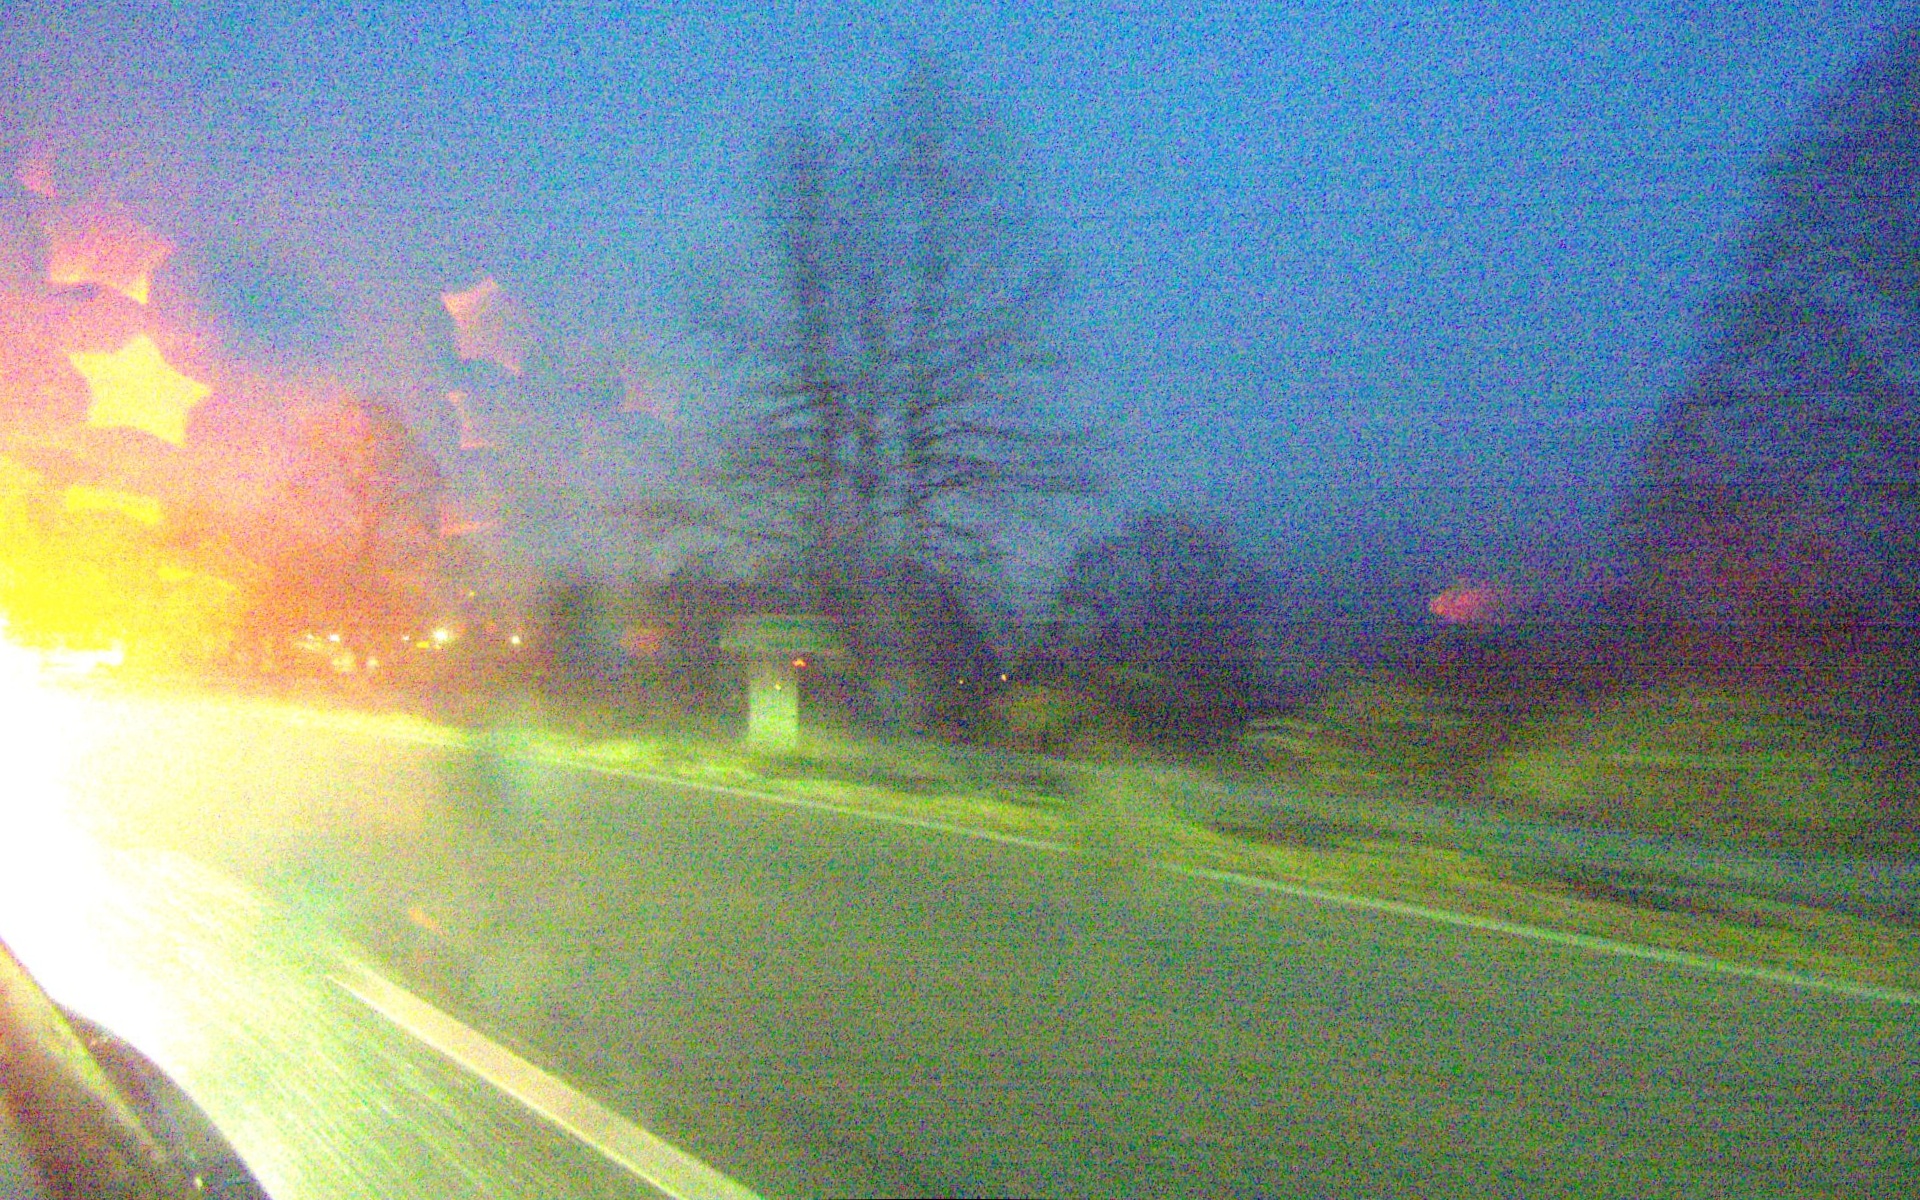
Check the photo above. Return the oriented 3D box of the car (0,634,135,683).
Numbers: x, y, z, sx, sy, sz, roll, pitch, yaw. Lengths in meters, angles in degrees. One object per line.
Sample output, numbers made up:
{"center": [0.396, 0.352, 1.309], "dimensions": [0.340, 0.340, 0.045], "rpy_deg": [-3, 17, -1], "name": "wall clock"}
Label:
{"center": [-37.772, 2.444, 42.170], "dimensions": [1.931, 1.852, 4.886], "rpy_deg": [-2, -6, 38], "name": "car"}
